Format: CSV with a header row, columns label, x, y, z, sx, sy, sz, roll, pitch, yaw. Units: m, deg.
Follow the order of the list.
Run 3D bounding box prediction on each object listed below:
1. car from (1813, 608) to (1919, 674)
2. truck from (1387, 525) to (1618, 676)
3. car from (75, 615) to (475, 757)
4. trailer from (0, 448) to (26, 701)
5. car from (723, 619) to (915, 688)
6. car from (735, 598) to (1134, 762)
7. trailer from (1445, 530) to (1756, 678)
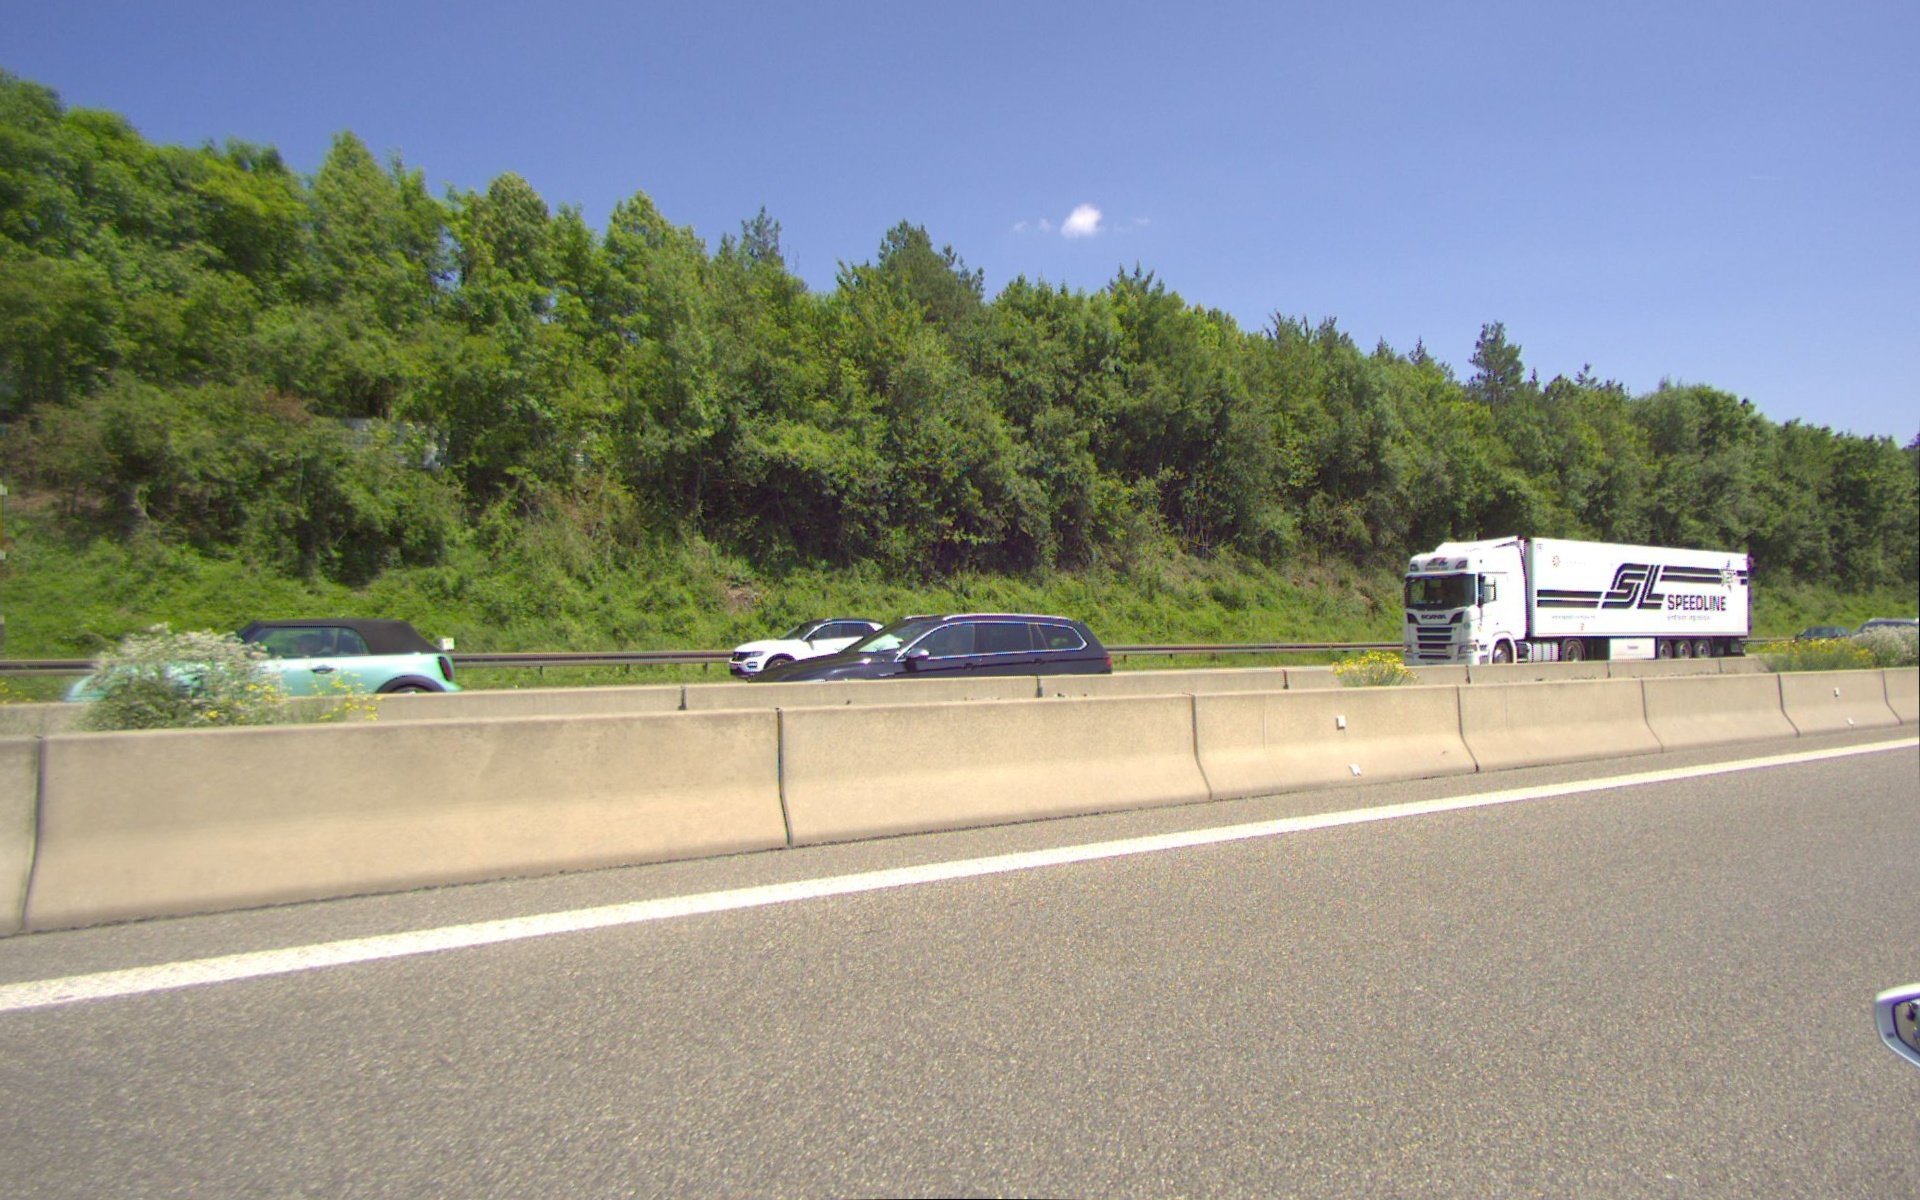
label,x,y,z,sx,sy,sz,roll,pitch,yaw
car,26.623,1.197,28.791,4.732,1.779,1.875,2,-3,-31
truck,16.961,0.159,31.277,7.508,4.219,2.791,2,-2,-29
car,-7.913,0.973,12.002,3.687,1.463,1.575,2,-3,-30
trailer,-20.832,-0.595,12.894,12.480,4.100,2.794,2,-3,-31
car,-3.258,1.212,23.464,4.141,1.486,1.659,1,-1,-31
car,-0.241,0.864,12.159,4.484,1.661,1.897,1,-1,-30
trailer,22.205,0.358,34.299,13.868,4.395,2.791,2,-2,-29
